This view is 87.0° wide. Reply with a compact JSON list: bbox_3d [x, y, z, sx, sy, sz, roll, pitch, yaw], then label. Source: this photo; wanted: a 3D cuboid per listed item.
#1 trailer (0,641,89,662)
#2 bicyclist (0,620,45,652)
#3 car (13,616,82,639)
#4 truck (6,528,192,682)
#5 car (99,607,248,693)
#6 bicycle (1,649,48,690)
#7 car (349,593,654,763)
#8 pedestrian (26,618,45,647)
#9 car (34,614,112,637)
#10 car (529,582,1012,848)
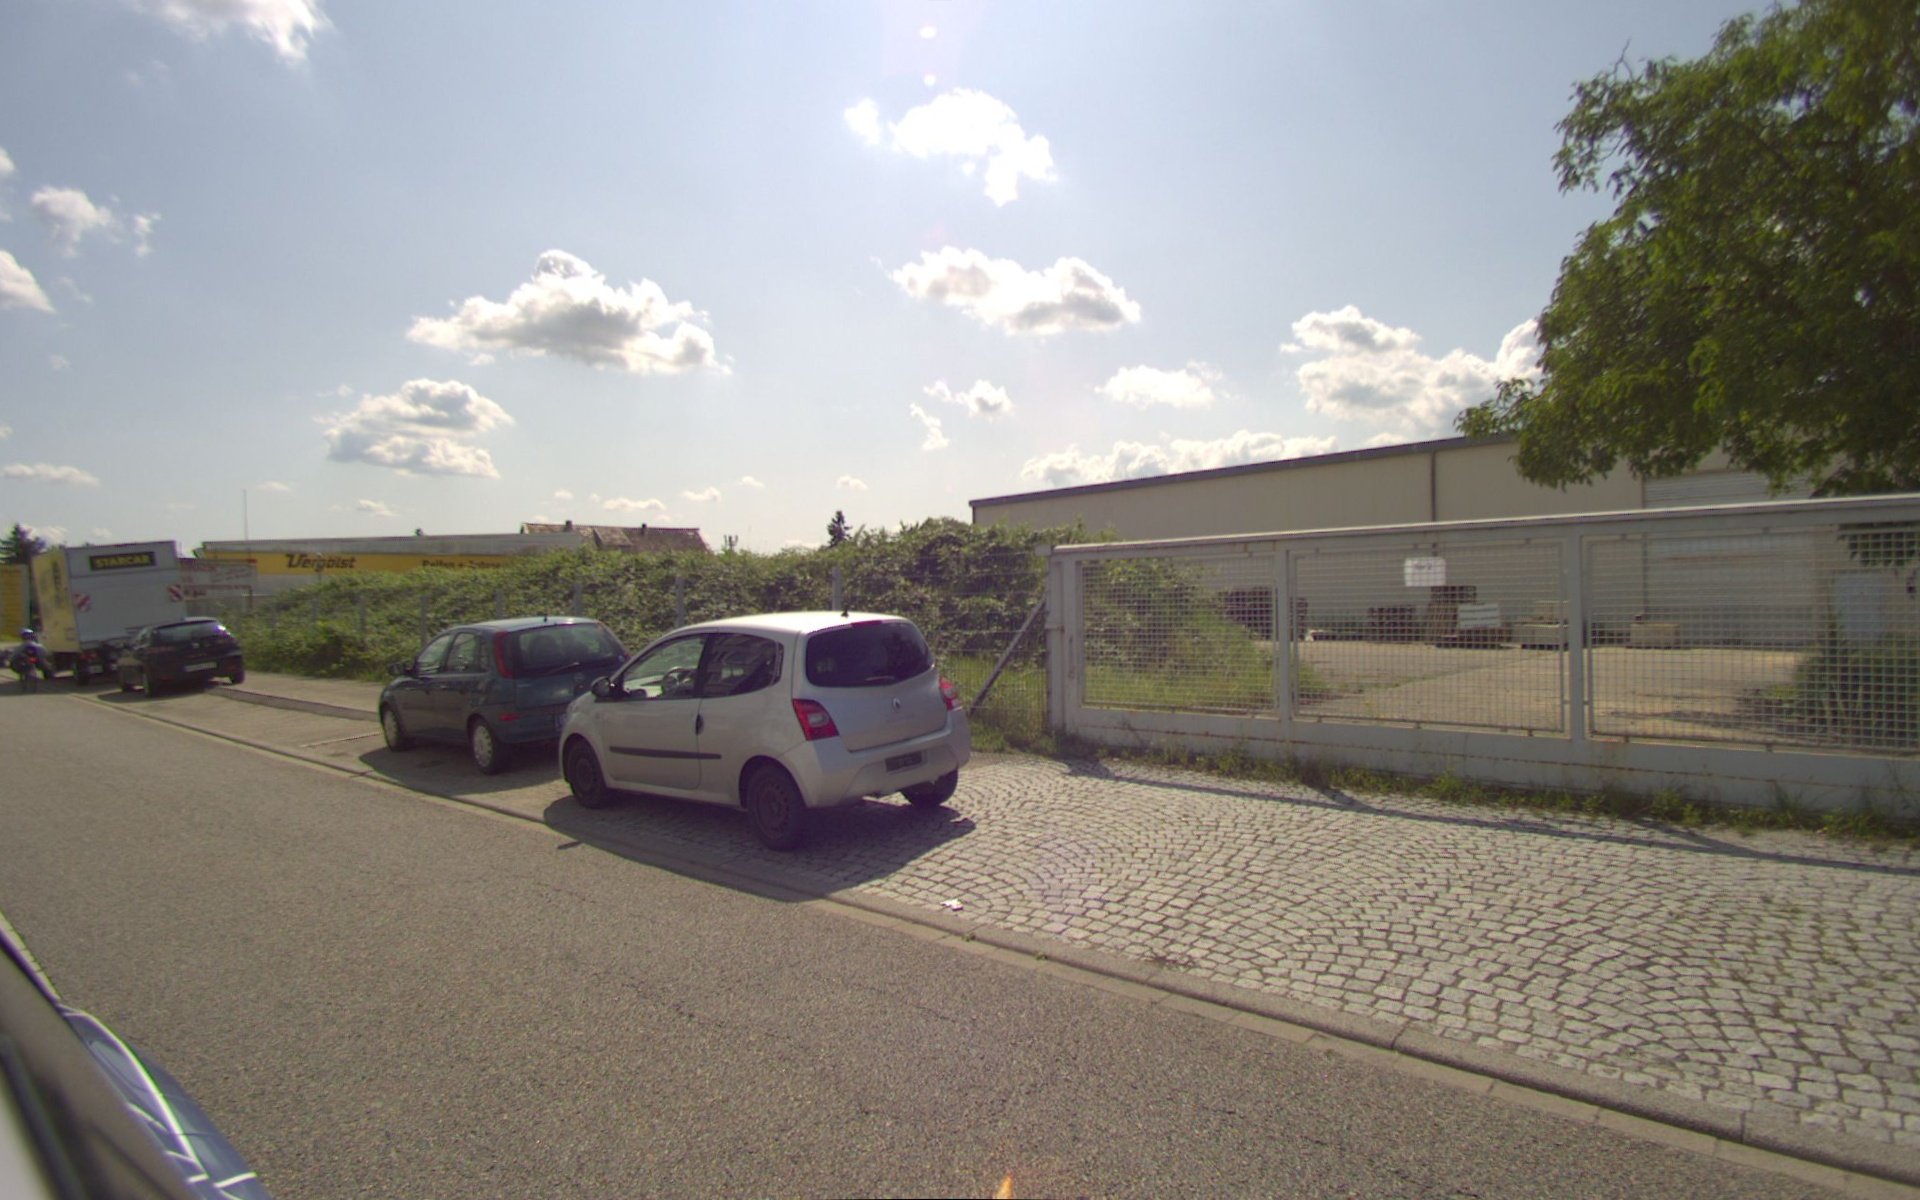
[{"bbox_3d":[-32.106,1.750,35.059,4.440,0.556,2.213,-1,0,40],"label":"trailer"},{"bbox_3d":[-19.863,0.756,21.429,1.857,0.636,0.559,-2,0,44],"label":"bicyclist"},{"bbox_3d":[-73.290,2.219,81.355,4.035,1.726,1.682,-1,0,-41],"label":"car"},{"bbox_3d":[-22.009,0.137,25.726,6.901,3.386,2.228,-2,4,40],"label":"truck"},{"bbox_3d":[-16.391,0.975,21.041,3.824,1.439,1.603,-1,6,41],"label":"car"},{"bbox_3d":[-19.841,1.454,21.445,2.125,0.747,0.581,-1,0,43],"label":"bicycle"},{"bbox_3d":[-5.075,0.731,10.981,3.798,1.409,1.552,-1,4,42],"label":"car"},{"bbox_3d":[-49.624,1.740,54.309,0.918,1.557,0.653,-2,-1,42],"label":"pedestrian"},{"bbox_3d":[-63.521,1.824,72.560,1.844,1.424,3.822,-1,1,18],"label":"car"},{"bbox_3d":[-1.580,0.685,7.700,3.707,1.494,1.599,-1,2,41],"label":"car"}]
